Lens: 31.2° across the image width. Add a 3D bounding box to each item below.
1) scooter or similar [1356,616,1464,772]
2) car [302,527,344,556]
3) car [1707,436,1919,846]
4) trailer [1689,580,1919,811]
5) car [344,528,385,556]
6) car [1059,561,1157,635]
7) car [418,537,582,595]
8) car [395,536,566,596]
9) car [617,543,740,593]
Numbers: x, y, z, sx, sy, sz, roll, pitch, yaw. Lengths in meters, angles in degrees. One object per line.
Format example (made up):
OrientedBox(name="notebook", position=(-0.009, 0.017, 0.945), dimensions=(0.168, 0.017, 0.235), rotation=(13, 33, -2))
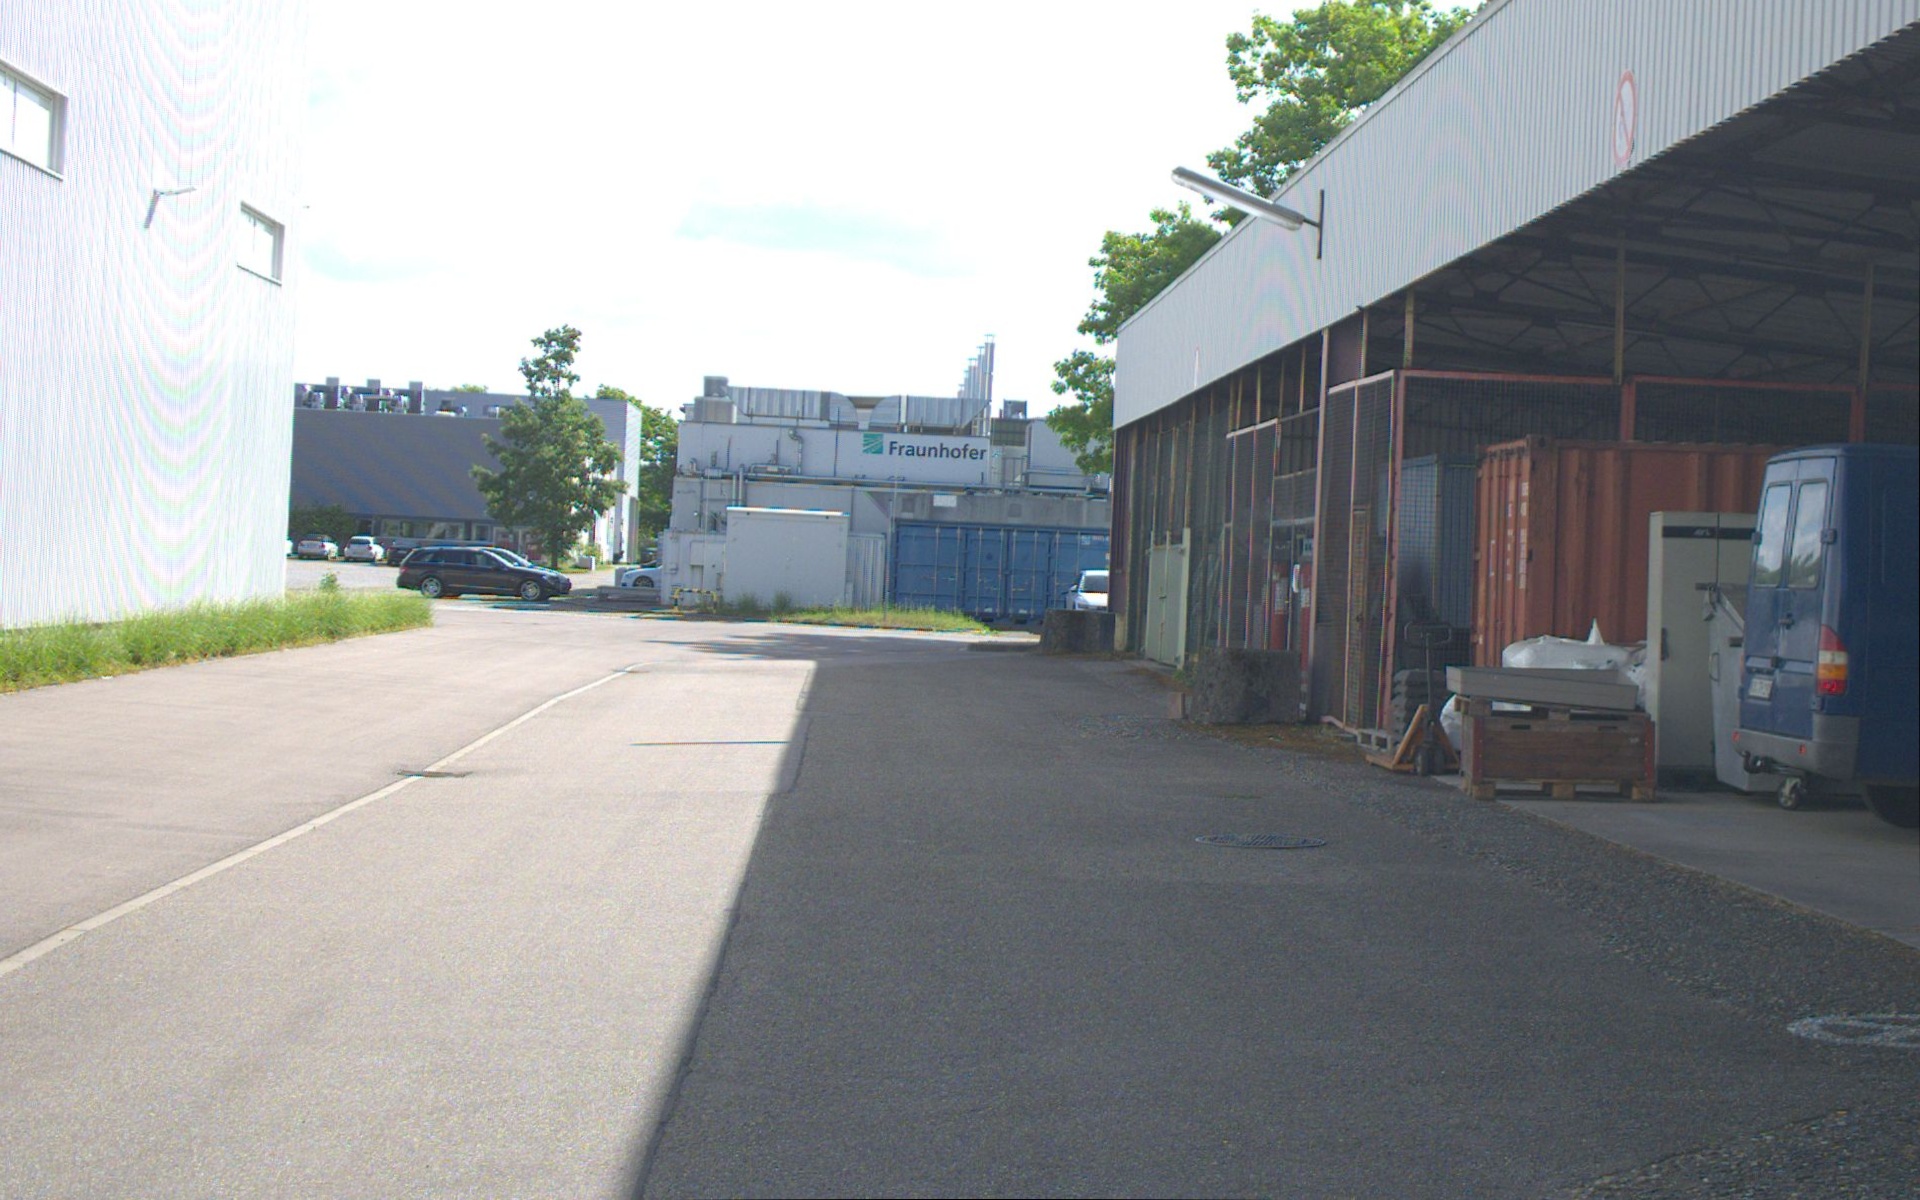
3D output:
OrientedBox(name="scooter or similar", position=(3.415, 0.699, 26.200), dimensions=(0.520, 1.131, 1.592), rotation=(2, 0, -2))
OrientedBox(name="car", position=(-35.782, -3.282, 193.094), dimensions=(1.877, 1.532, 4.036), rotation=(1, 0, -4))
OrientedBox(name="car", position=(7.355, 0.300, 20.531), dimensions=(5.215, 2.289, 2.084), rotation=(2, 0, -3))
OrientedBox(name="trailer", position=(6.132, 0.636, 23.103), dimensions=(2.094, 1.457, 1.641), rotation=(2, 0, 1))
OrientedBox(name="car", position=(-33.464, -3.244, 193.388), dimensions=(1.877, 1.532, 4.036), rotation=(1, 0, -4))
OrientedBox(name="car", position=(3.630, -0.081, 84.871), dimensions=(1.981, 1.588, 4.341), rotation=(3, 2, -2))
OrientedBox(name="car", position=(-13.380, -0.977, 100.203), dimensions=(4.529, 1.438, 1.904), rotation=(3, -1, -2))
OrientedBox(name="car", position=(-13.499, -0.945, 96.939), dimensions=(4.529, 1.438, 1.987), rotation=(3, -1, -2))
OrientedBox(name="car", position=(-10.208, -1.145, 124.804), dimensions=(4.279, 1.564, 1.987), rotation=(3, -1, -2))
